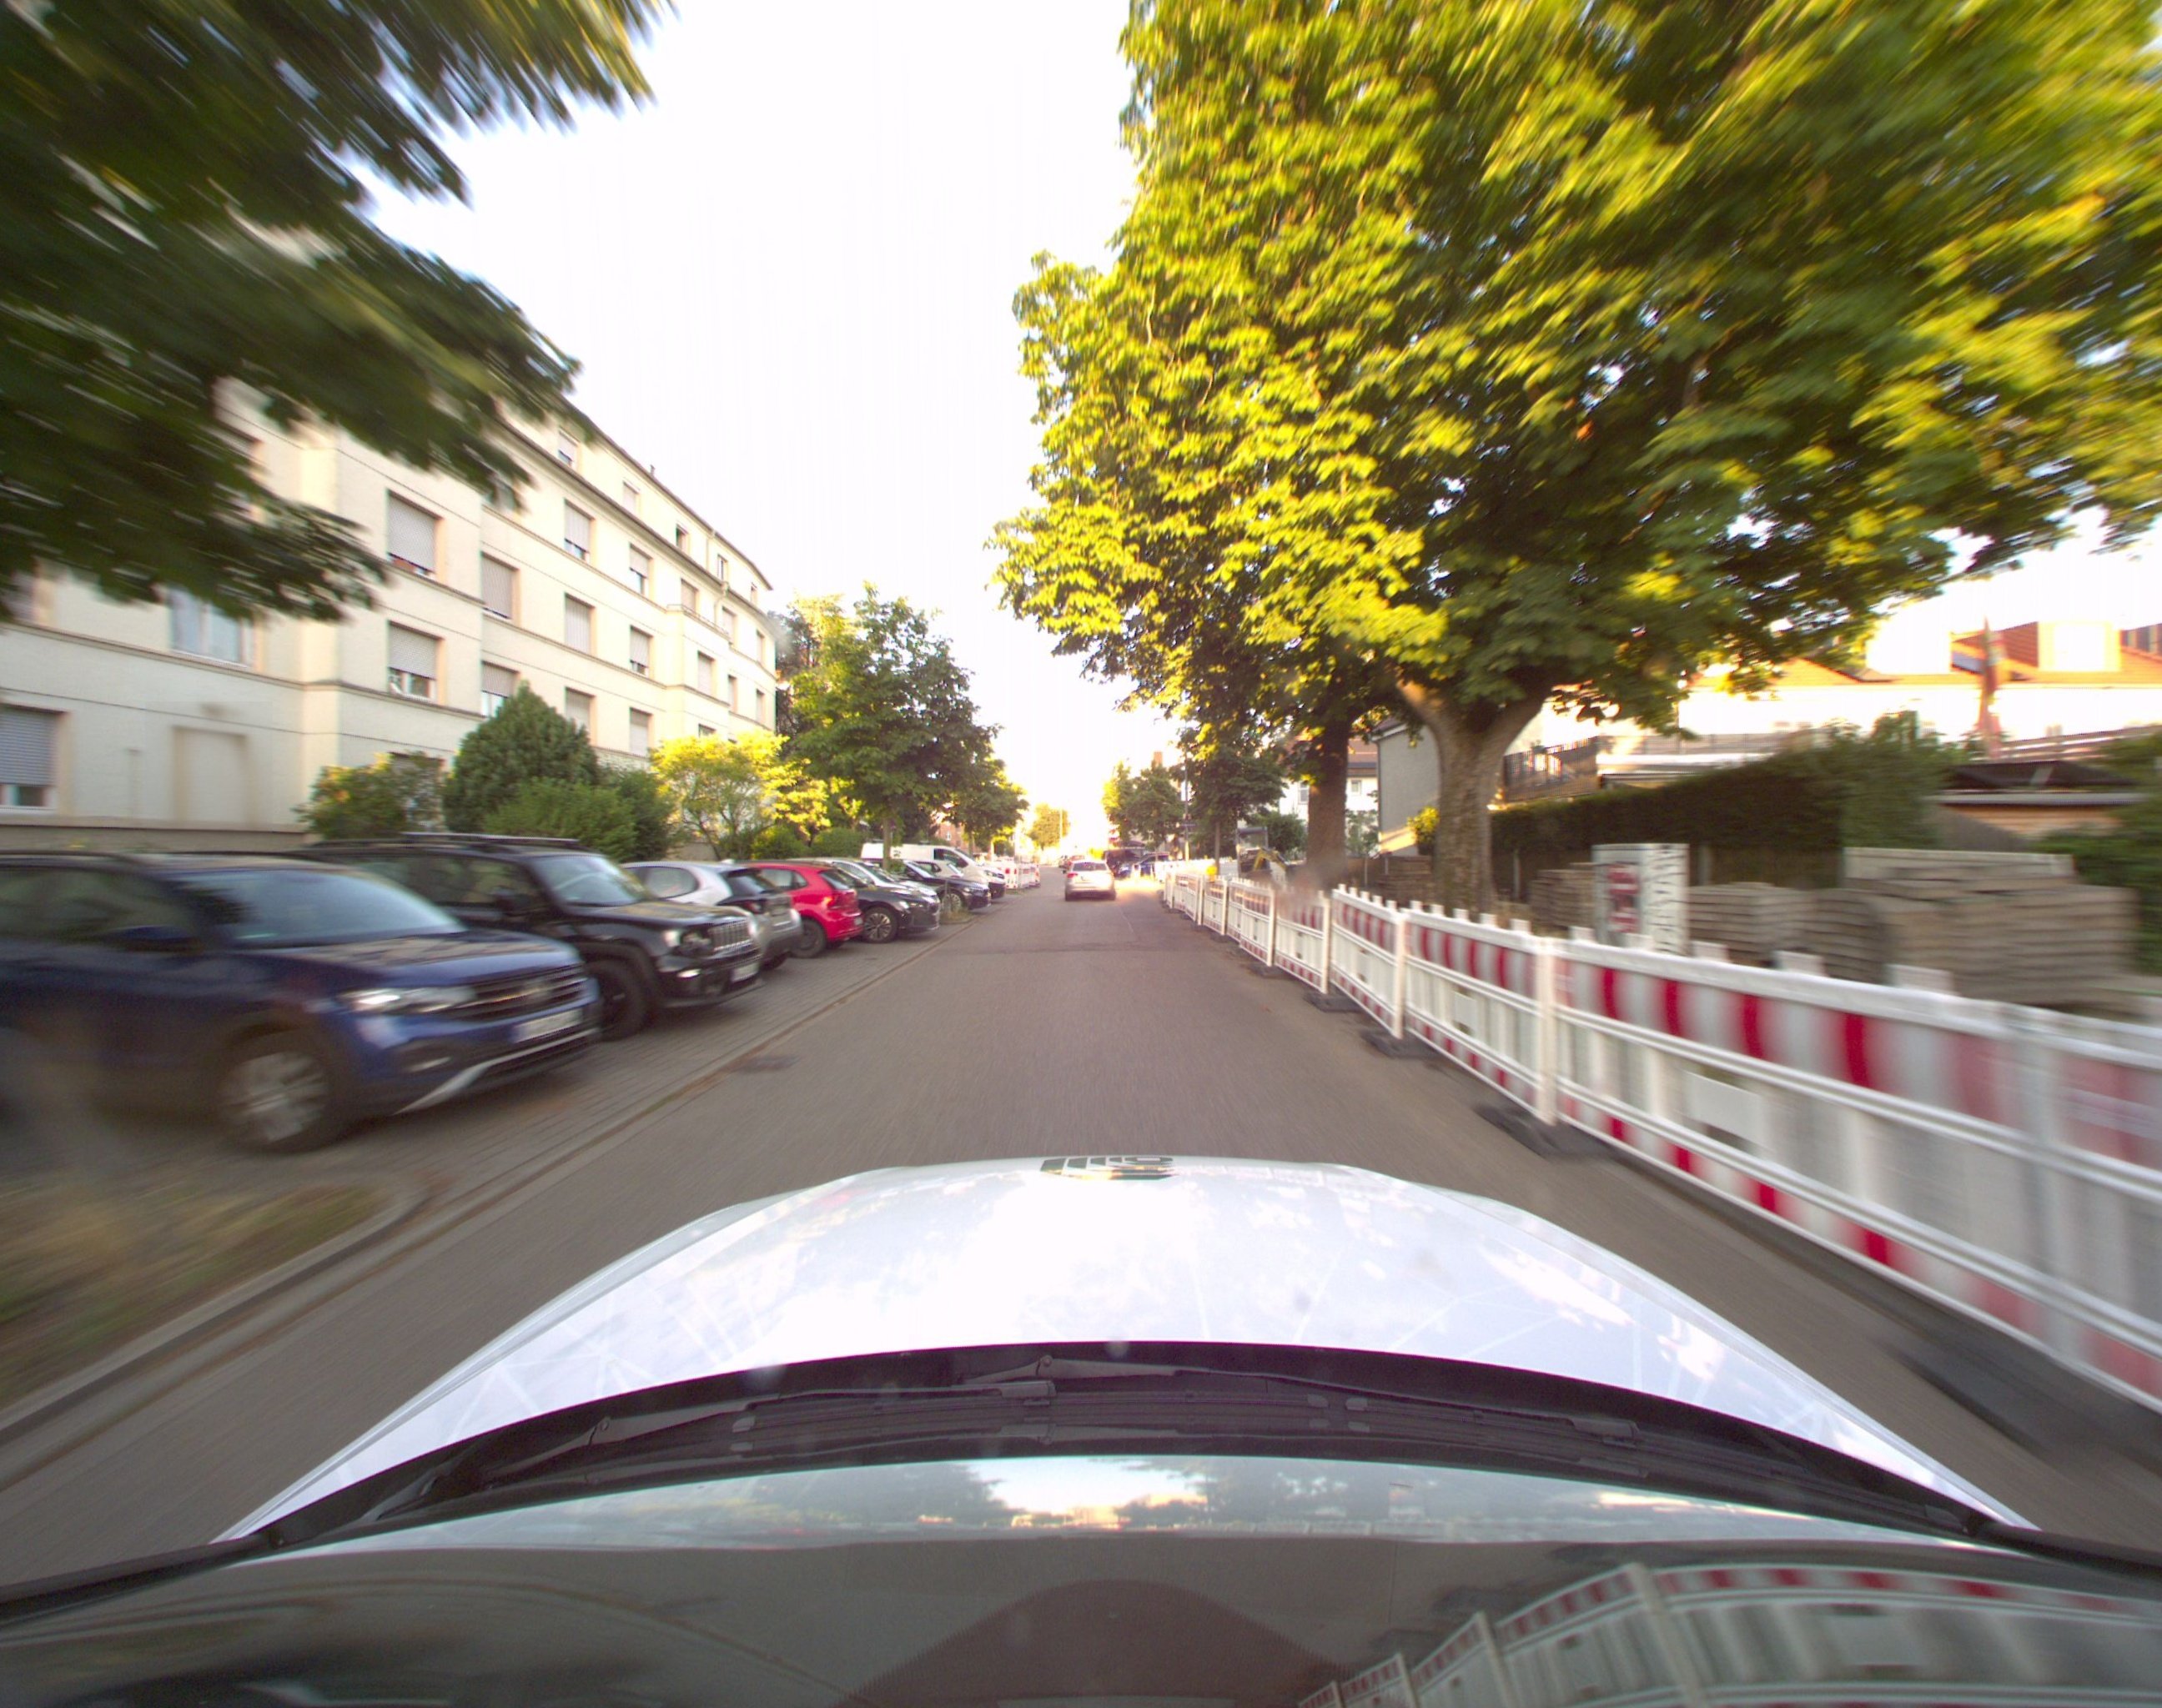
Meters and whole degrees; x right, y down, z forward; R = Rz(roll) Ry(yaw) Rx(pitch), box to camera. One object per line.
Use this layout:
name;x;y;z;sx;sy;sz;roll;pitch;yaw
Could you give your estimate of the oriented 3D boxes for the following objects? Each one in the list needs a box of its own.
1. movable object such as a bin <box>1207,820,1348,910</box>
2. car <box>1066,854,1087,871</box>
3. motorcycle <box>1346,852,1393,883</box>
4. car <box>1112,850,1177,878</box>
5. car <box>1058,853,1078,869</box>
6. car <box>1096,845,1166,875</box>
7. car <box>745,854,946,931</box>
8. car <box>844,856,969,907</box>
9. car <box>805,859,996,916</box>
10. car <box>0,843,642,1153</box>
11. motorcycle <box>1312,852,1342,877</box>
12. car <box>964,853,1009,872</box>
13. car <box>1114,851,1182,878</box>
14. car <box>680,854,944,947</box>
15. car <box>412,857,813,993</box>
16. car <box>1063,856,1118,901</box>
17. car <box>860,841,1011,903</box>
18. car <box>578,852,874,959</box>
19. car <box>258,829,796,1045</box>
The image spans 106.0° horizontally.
movable object such as a bin;5.682;0.275;24.444;2.624;2.402;5.188;0;0;-5
car;-0.436;0.792;73.982;1.727;1.483;3.551;0;0;-5
motorcycle;13.508;0.596;38.182;0.601;1.416;2.056;0;0;-43
car;4.153;0.635;53.920;3.985;1.768;1.995;0;0;-8
car;-1.362;0.708;84.421;1.806;1.612;3.575;0;0;-5
car;3.432;0.399;56.248;4.555;2.023;2.095;0;0;-9
car;-5.110;0.805;18.128;3.979;1.578;1.798;0;0;-5
car;-5.268;0.805;24.941;3.402;1.484;1.759;0;0;1
car;-4.818;0.887;22.233;4.757;1.470;1.880;0;-1;-1
car;-5.195;0.739;5.166;3.844;1.595;1.787;0;0;3
motorcycle;11.302;0.471;37.424;0.574;1.105;1.858;0;0;42
car;-8.514;0.772;73.077;3.985;1.625;1.994;0;0;-8
car;4.219;0.650;51.421;3.989;1.651;1.758;0;0;-11
car;-4.904;0.817;15.405;4.398;1.615;1.897;0;0;-5
car;-5.676;0.809;10.290;3.978;1.524;1.788;0;0;-3
car;0.338;0.849;29.362;1.801;1.488;4.000;-2;-1;1
car;-4.822;0.570;27.562;4.758;2.013;1.999;0;0;-1
car;-5.540;0.769;13.123;3.978;1.583;1.729;0;0;-4
car;-4.972;0.681;7.711;3.844;1.777;1.845;0;0;3
